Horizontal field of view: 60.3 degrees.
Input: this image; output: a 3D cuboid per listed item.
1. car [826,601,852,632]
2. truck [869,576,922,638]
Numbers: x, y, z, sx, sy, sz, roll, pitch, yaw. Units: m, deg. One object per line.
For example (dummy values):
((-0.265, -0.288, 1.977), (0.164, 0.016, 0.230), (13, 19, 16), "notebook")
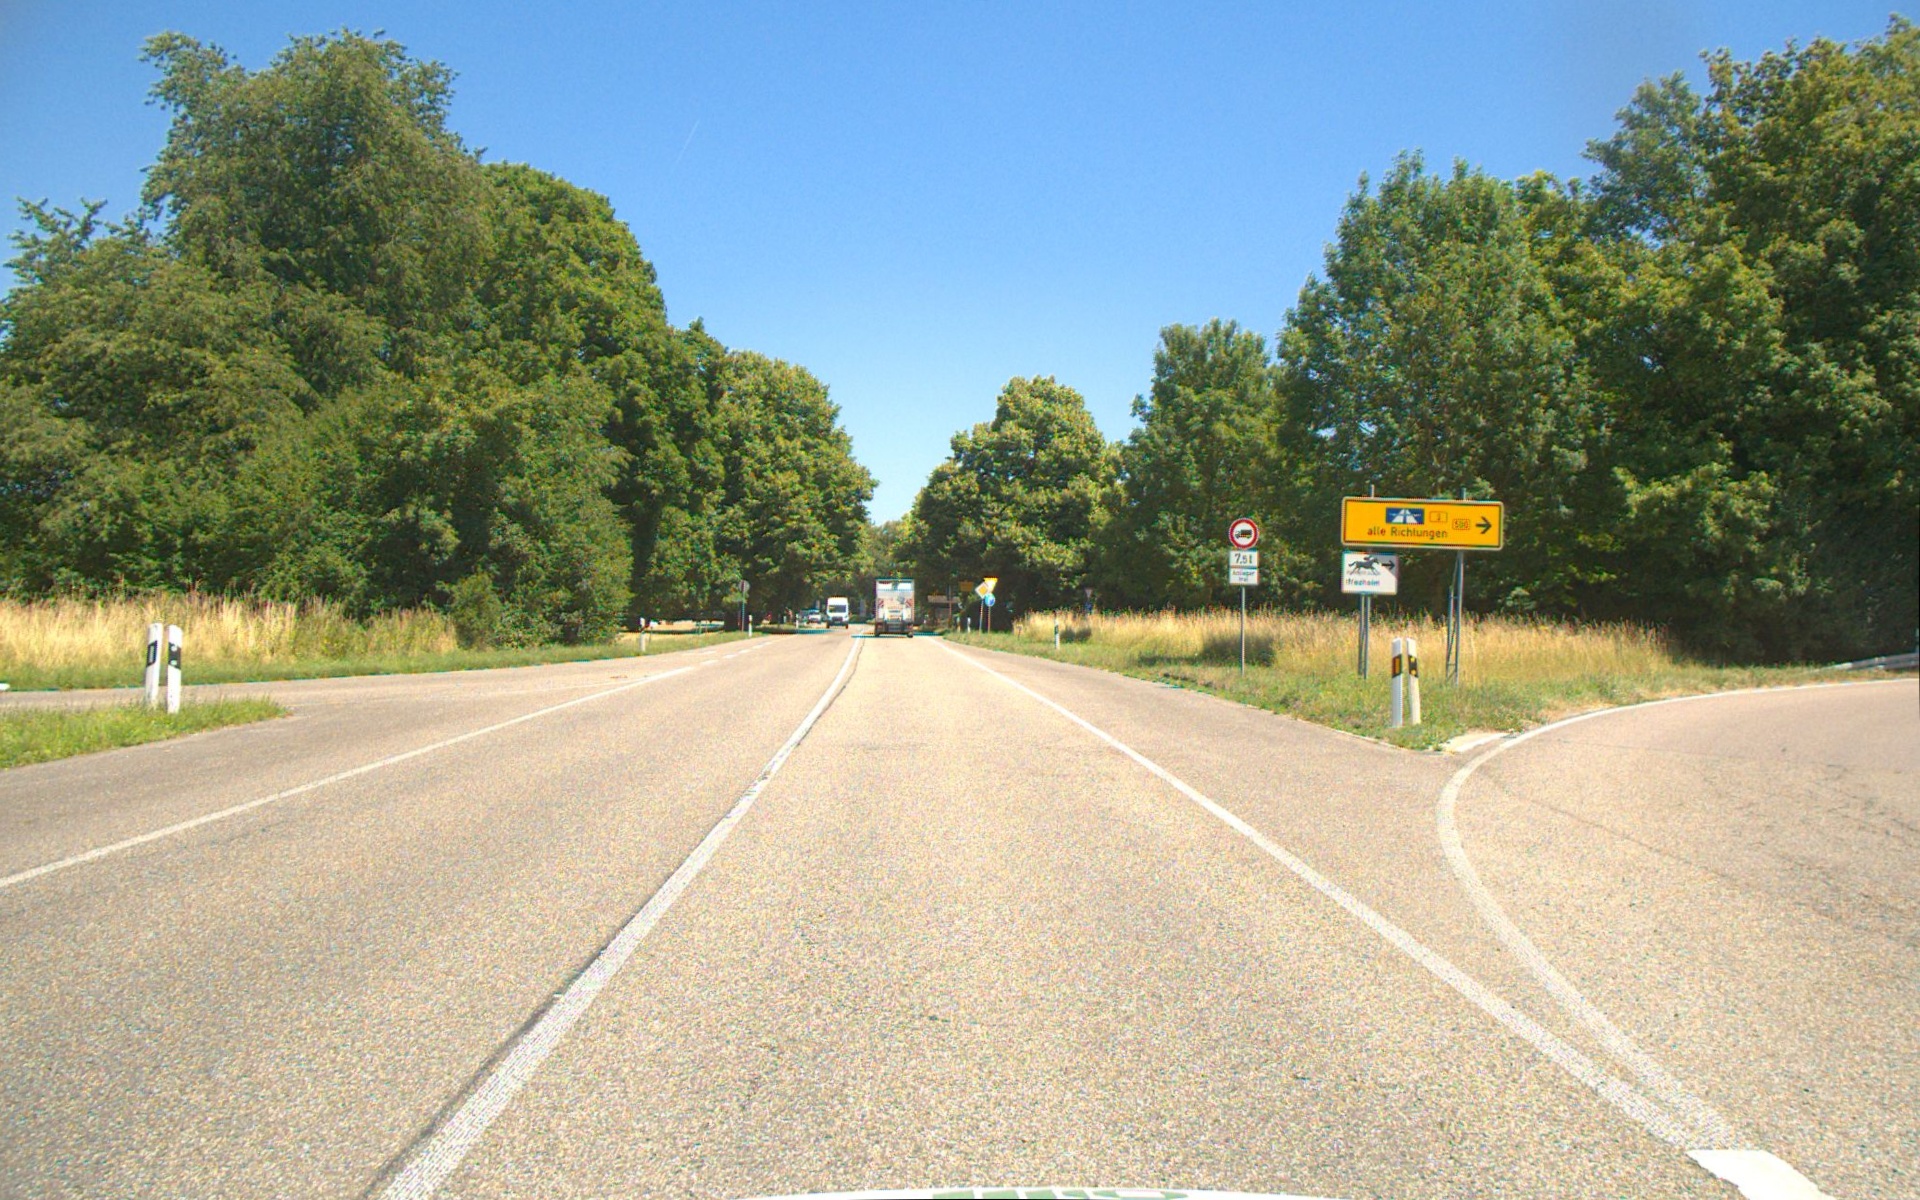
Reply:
((-10.858, 1.483, 148.612), (2.031, 2.674, 6.781), (0, -1, -1), "car")
((-3.403, 0.375, 87.866), (2.481, 3.190, 5.361), (0, 0, 1), "truck")
